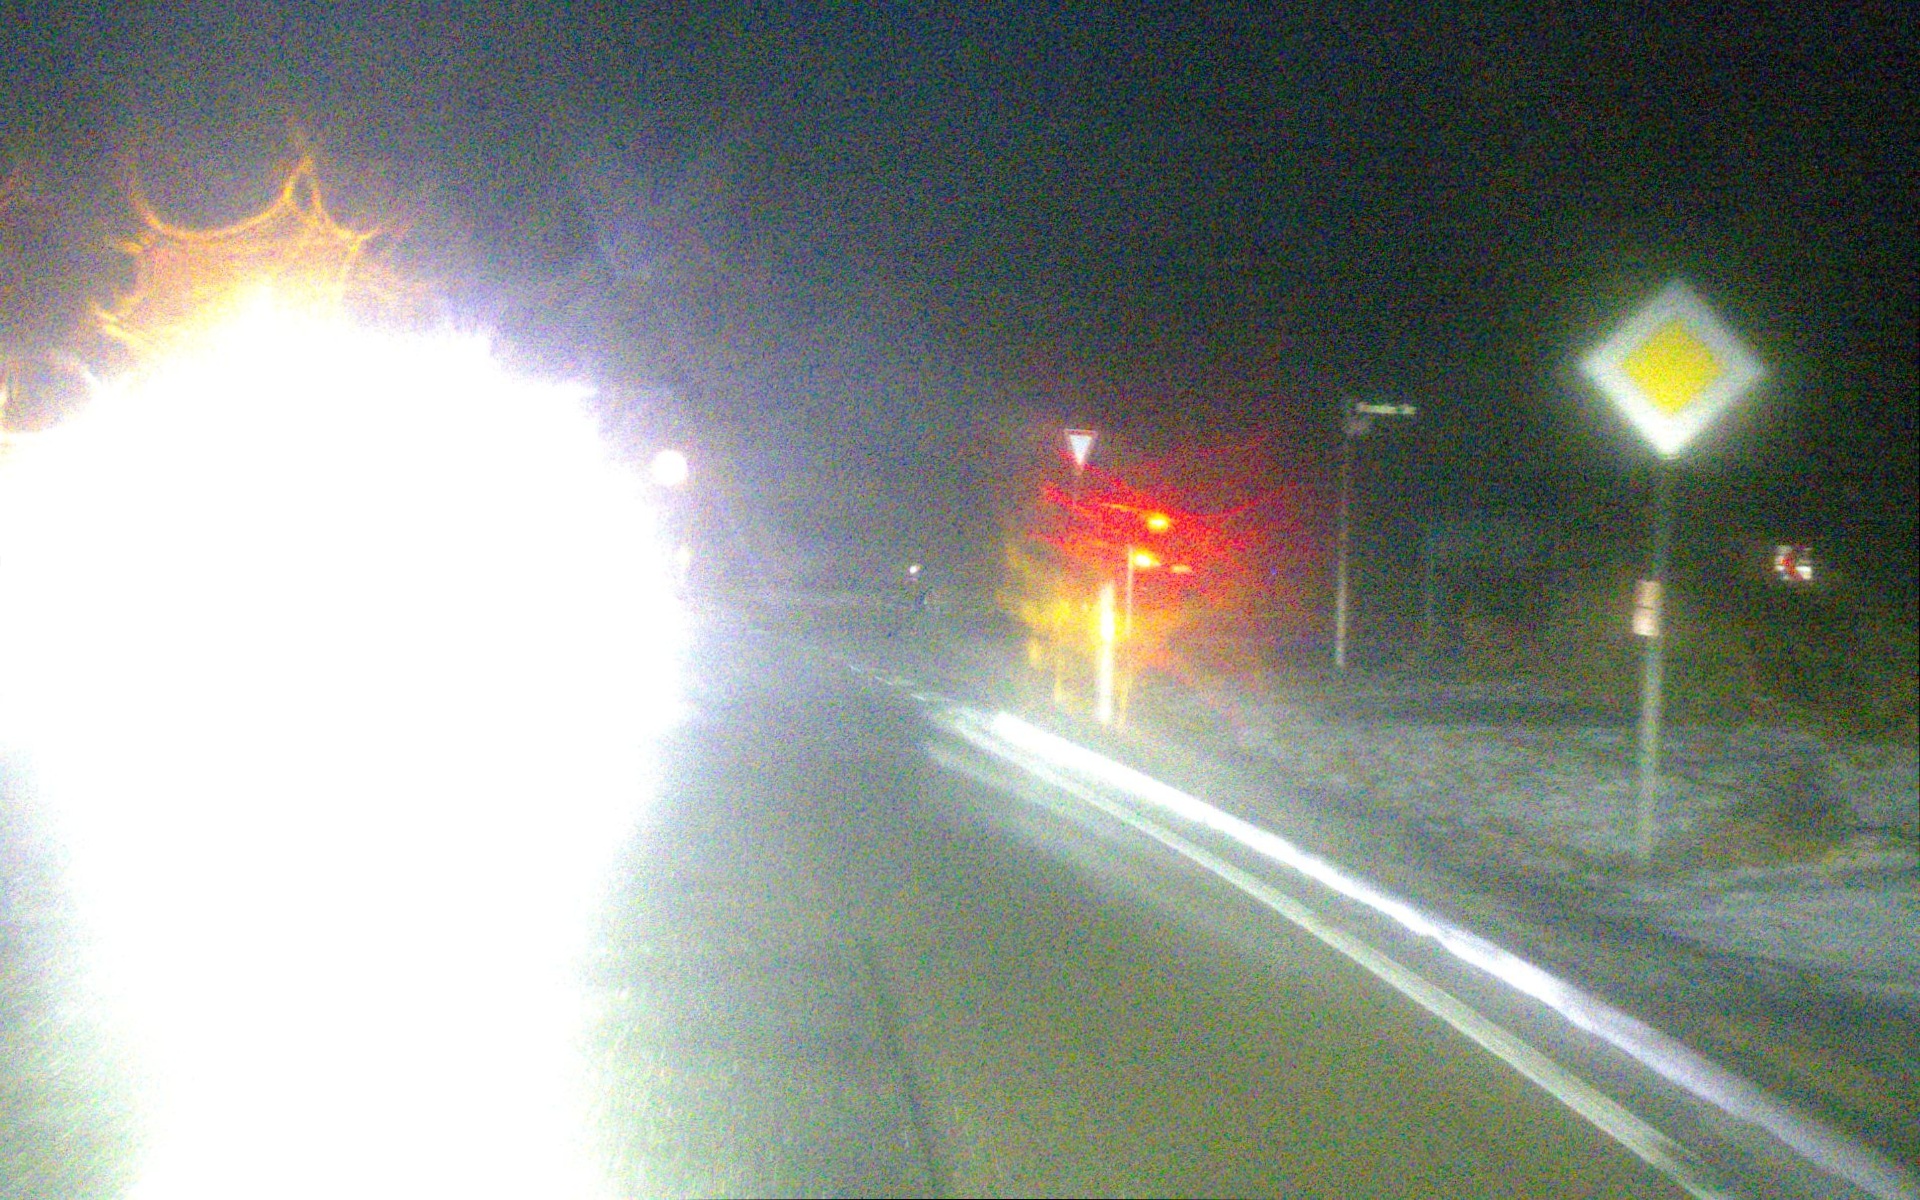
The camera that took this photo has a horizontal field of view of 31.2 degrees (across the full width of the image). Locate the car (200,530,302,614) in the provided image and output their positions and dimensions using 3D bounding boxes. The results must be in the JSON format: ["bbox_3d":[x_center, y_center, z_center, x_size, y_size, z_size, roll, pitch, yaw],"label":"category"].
[{"bbox_3d":[-13.490,-0.554,65.274,1.711,1.471,3.870,1,1,-14],"label":"car"}]

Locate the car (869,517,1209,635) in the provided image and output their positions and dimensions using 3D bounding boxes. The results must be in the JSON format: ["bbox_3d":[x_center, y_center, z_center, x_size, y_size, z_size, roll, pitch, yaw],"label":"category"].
[{"bbox_3d":[1.158,-0.366,51.587,4.768,1.685,1.957,1,0,34],"label":"car"}]

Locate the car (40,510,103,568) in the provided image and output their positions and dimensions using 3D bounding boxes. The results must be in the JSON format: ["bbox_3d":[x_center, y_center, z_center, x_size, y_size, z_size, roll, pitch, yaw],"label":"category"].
[{"bbox_3d":[-25.748,-1.784,99.554,1.695,1.594,3.802,0,2,-16],"label":"car"}]

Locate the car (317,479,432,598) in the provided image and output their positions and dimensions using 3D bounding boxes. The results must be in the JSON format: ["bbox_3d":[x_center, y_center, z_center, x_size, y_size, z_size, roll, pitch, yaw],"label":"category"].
[{"bbox_3d":[-13.956,-1.504,81.685,2.538,2.489,5.717,0,4,-11],"label":"car"}]

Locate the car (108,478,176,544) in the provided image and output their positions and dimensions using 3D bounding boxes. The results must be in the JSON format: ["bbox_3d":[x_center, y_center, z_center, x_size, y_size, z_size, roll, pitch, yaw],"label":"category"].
[{"bbox_3d":[-26.039,-2.805,109.343,1.993,2.007,4.001,1,0,-15],"label":"car"}]

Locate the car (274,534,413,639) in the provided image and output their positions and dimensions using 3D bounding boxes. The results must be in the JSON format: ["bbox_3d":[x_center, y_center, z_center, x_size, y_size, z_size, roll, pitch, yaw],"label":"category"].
[{"bbox_3d":[-9.486,-0.212,52.664,1.955,1.517,4.400,1,0,-12],"label":"car"}]
